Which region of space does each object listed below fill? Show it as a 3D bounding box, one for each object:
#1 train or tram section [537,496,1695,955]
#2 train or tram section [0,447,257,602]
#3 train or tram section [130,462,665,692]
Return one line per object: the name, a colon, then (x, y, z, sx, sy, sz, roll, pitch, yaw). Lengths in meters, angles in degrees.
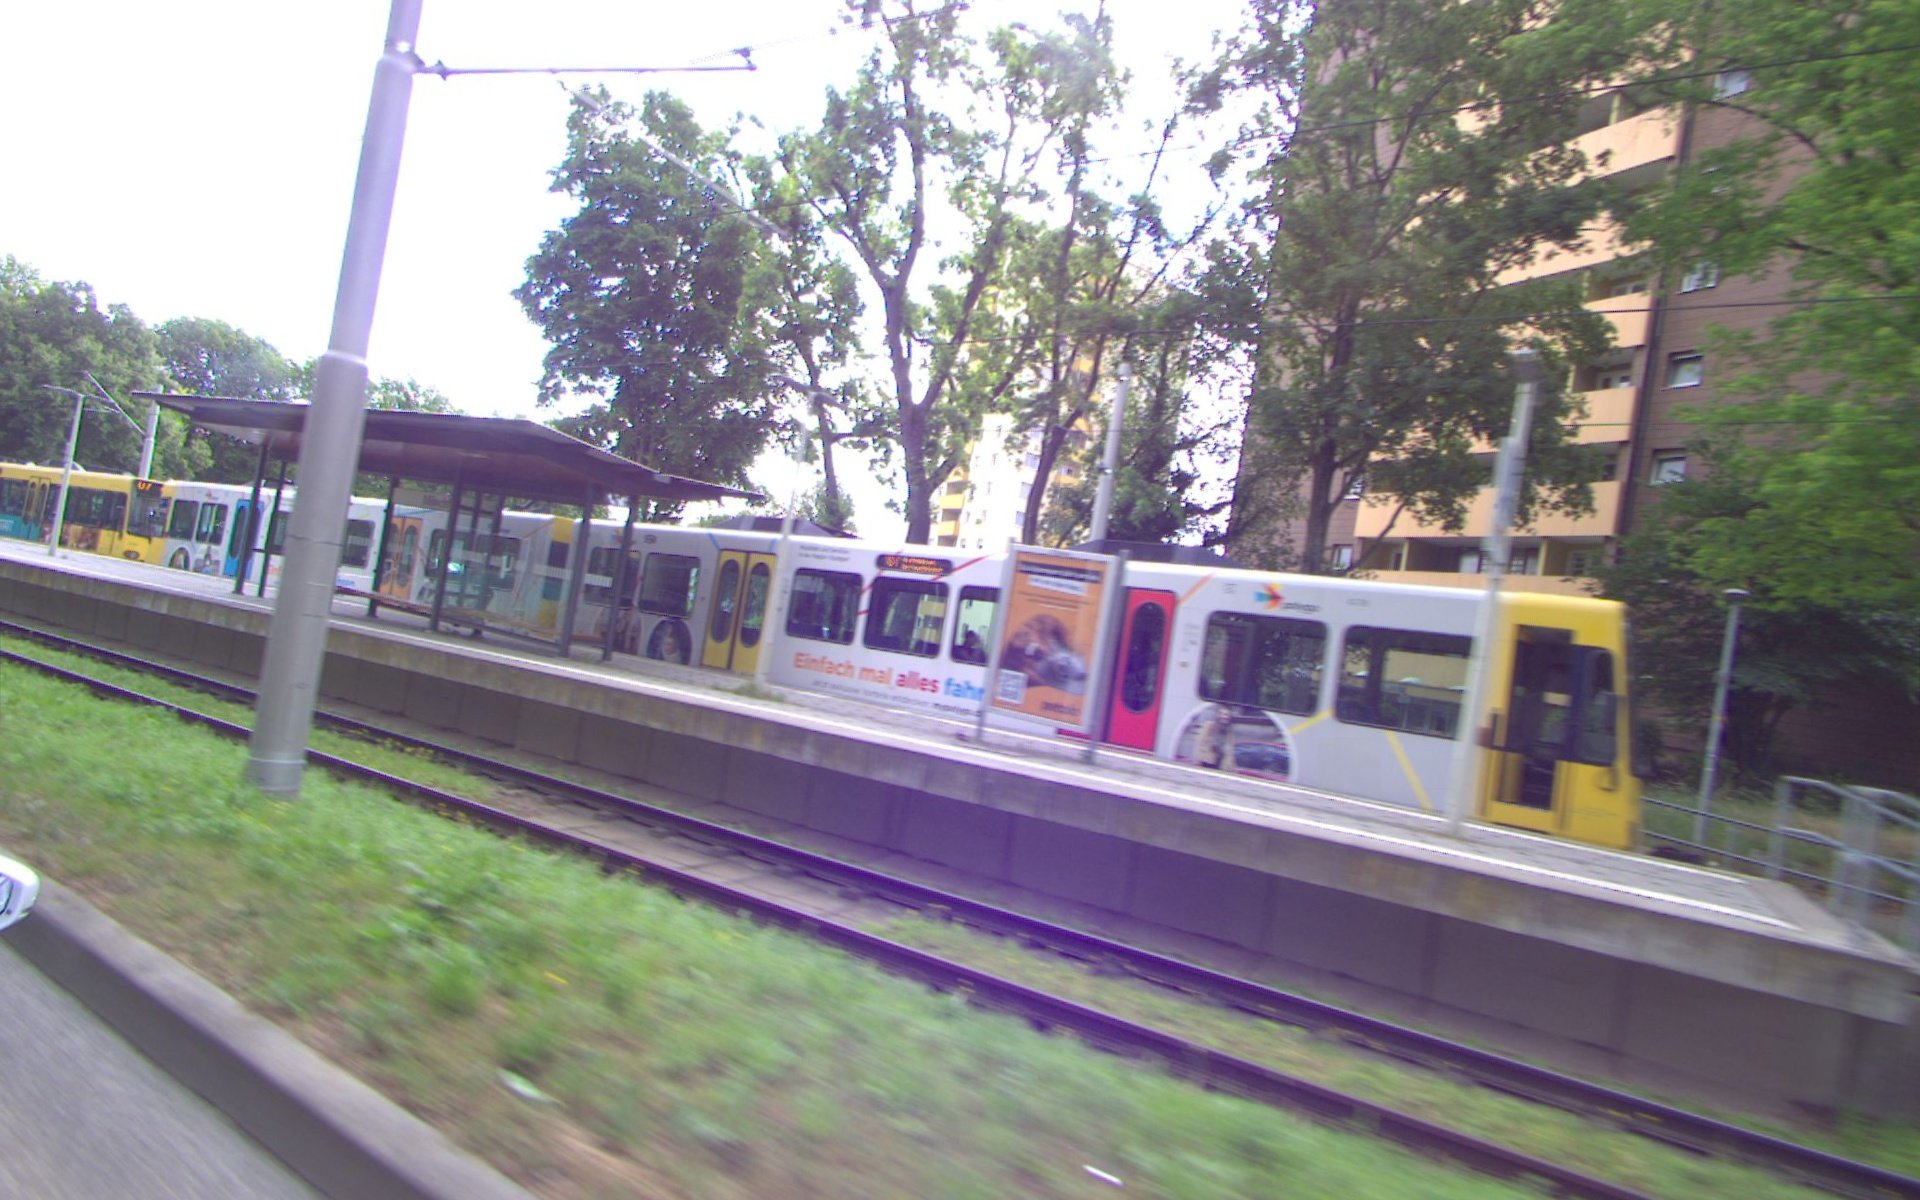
train or tram section: (0.145, 0.865, 16.026, 18.235, 3.777, 2.820, 7, -3, 34)
train or tram section: (-31.667, -3.055, 34.958, 19.170, 3.777, 2.824, 7, -3, 27)
train or tram section: (-15.472, -1.008, 25.990, 18.616, 3.839, 2.822, 7, -3, 31)
